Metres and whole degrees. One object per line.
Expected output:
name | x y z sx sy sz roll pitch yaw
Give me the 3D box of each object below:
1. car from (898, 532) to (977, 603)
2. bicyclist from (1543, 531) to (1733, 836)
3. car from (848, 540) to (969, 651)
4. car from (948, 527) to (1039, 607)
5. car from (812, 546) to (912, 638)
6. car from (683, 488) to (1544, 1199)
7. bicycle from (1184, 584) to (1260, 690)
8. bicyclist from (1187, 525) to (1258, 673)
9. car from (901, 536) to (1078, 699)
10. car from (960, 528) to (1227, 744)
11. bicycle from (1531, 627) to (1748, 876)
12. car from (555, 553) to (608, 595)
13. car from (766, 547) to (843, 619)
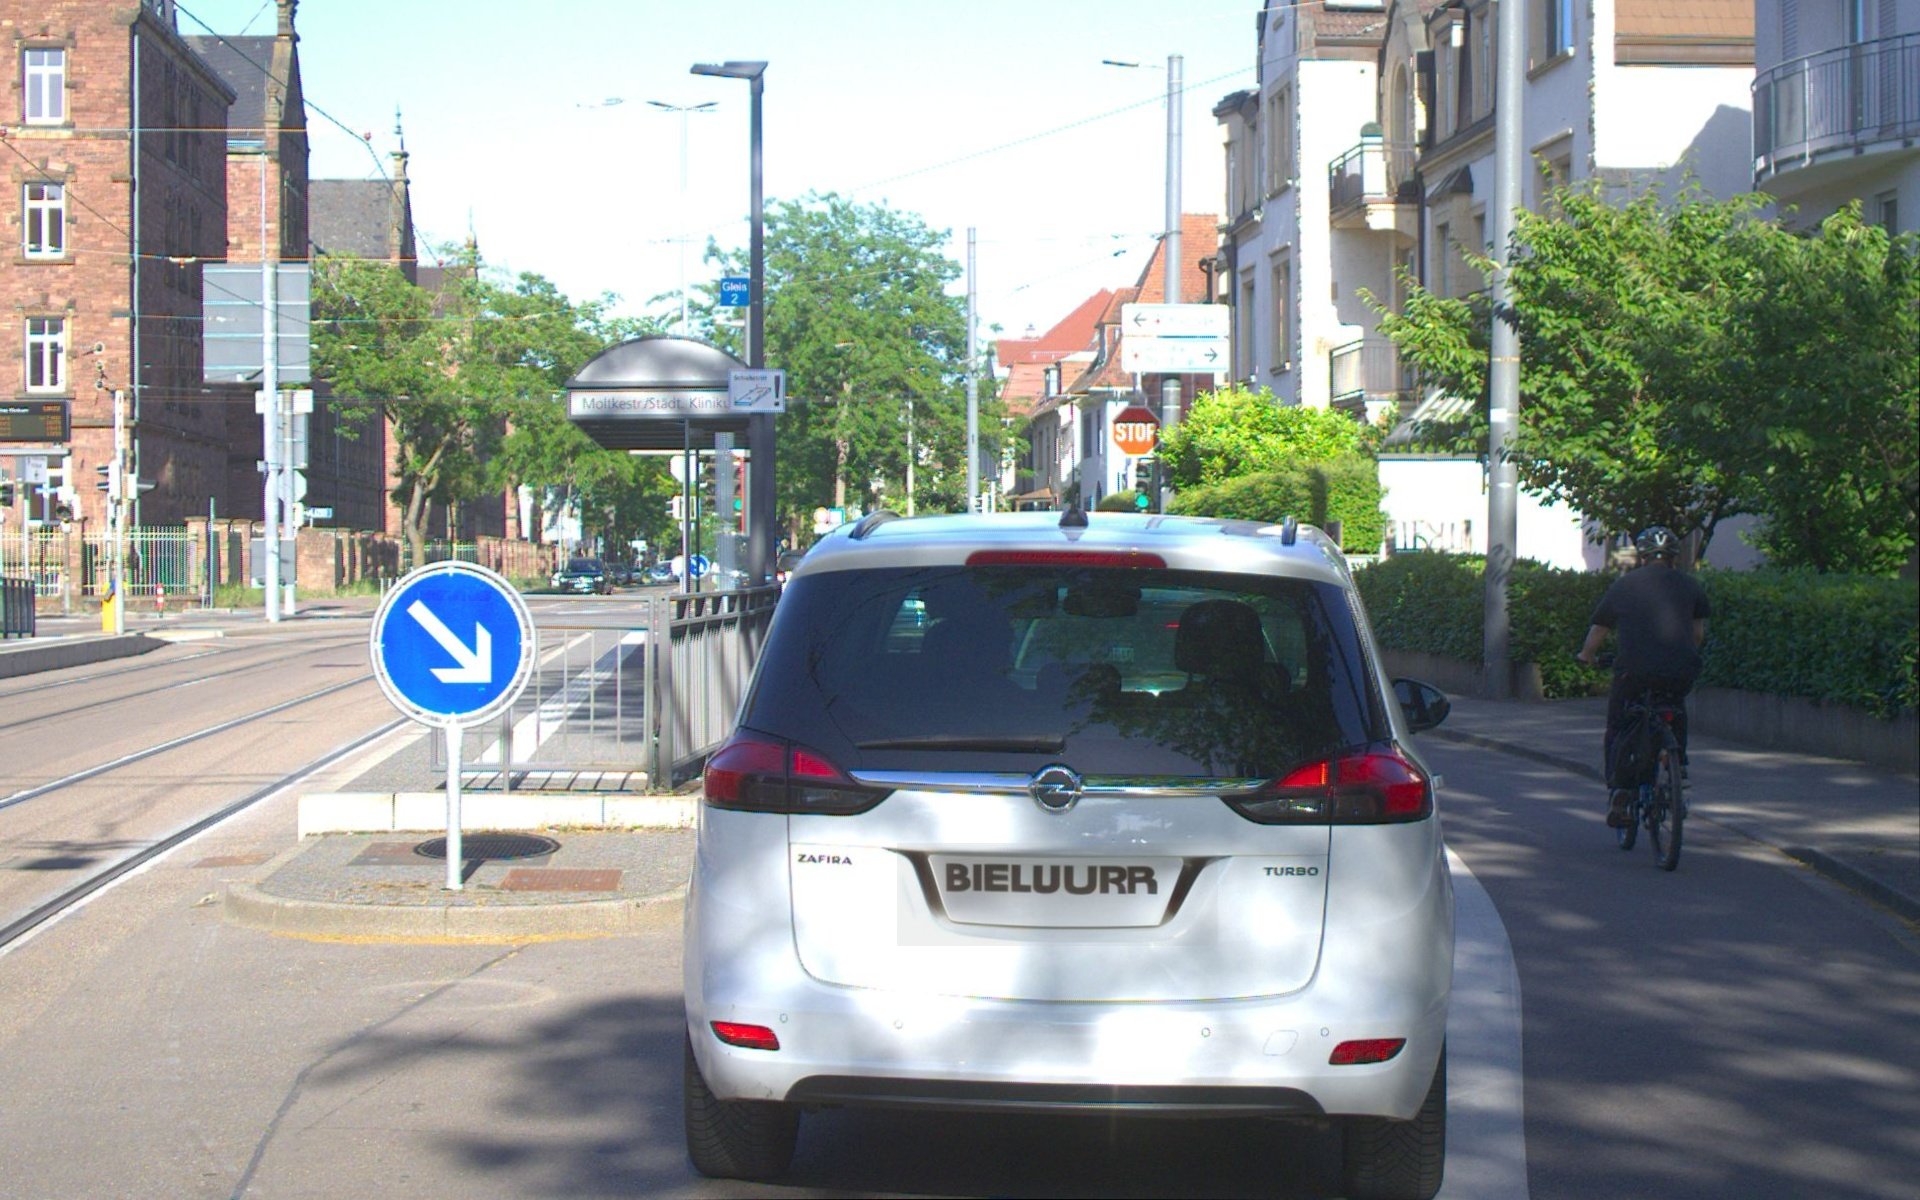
car | -0.564 -0.765 81.922 1.776 1.626 3.881 1 0 -2
bicyclist | 3.428 0.410 17.449 0.821 1.496 0.934 1 0 4
car | -0.806 -0.076 52.788 1.776 1.626 3.881 1 0 -1
car | 0.688 -0.691 72.897 1.776 1.626 3.881 1 0 -2
car | -1.781 -0.156 63.253 1.776 1.626 3.881 1 0 -1
car | 0.232 0.576 9.318 1.834 1.636 3.919 1 0 -3
bicycle | 2.944 0.403 38.706 0.685 1.153 1.619 1 0 -1
bicyclist | 2.949 -0.014 38.686 0.685 1.629 1.015 1 0 -1
car | 0.302 0.165 36.742 1.776 1.626 3.880 1 0 0
car | 1.015 0.260 28.039 1.775 1.626 3.881 1 0 -4
bicycle | 3.420 0.729 17.473 0.829 1.150 2.094 1 0 4
car | -15.322 -1.062 139.418 1.906 1.671 4.358 0 1 -4
car | -3.751 -0.406 83.217 1.776 1.687 3.881 1 0 -2
